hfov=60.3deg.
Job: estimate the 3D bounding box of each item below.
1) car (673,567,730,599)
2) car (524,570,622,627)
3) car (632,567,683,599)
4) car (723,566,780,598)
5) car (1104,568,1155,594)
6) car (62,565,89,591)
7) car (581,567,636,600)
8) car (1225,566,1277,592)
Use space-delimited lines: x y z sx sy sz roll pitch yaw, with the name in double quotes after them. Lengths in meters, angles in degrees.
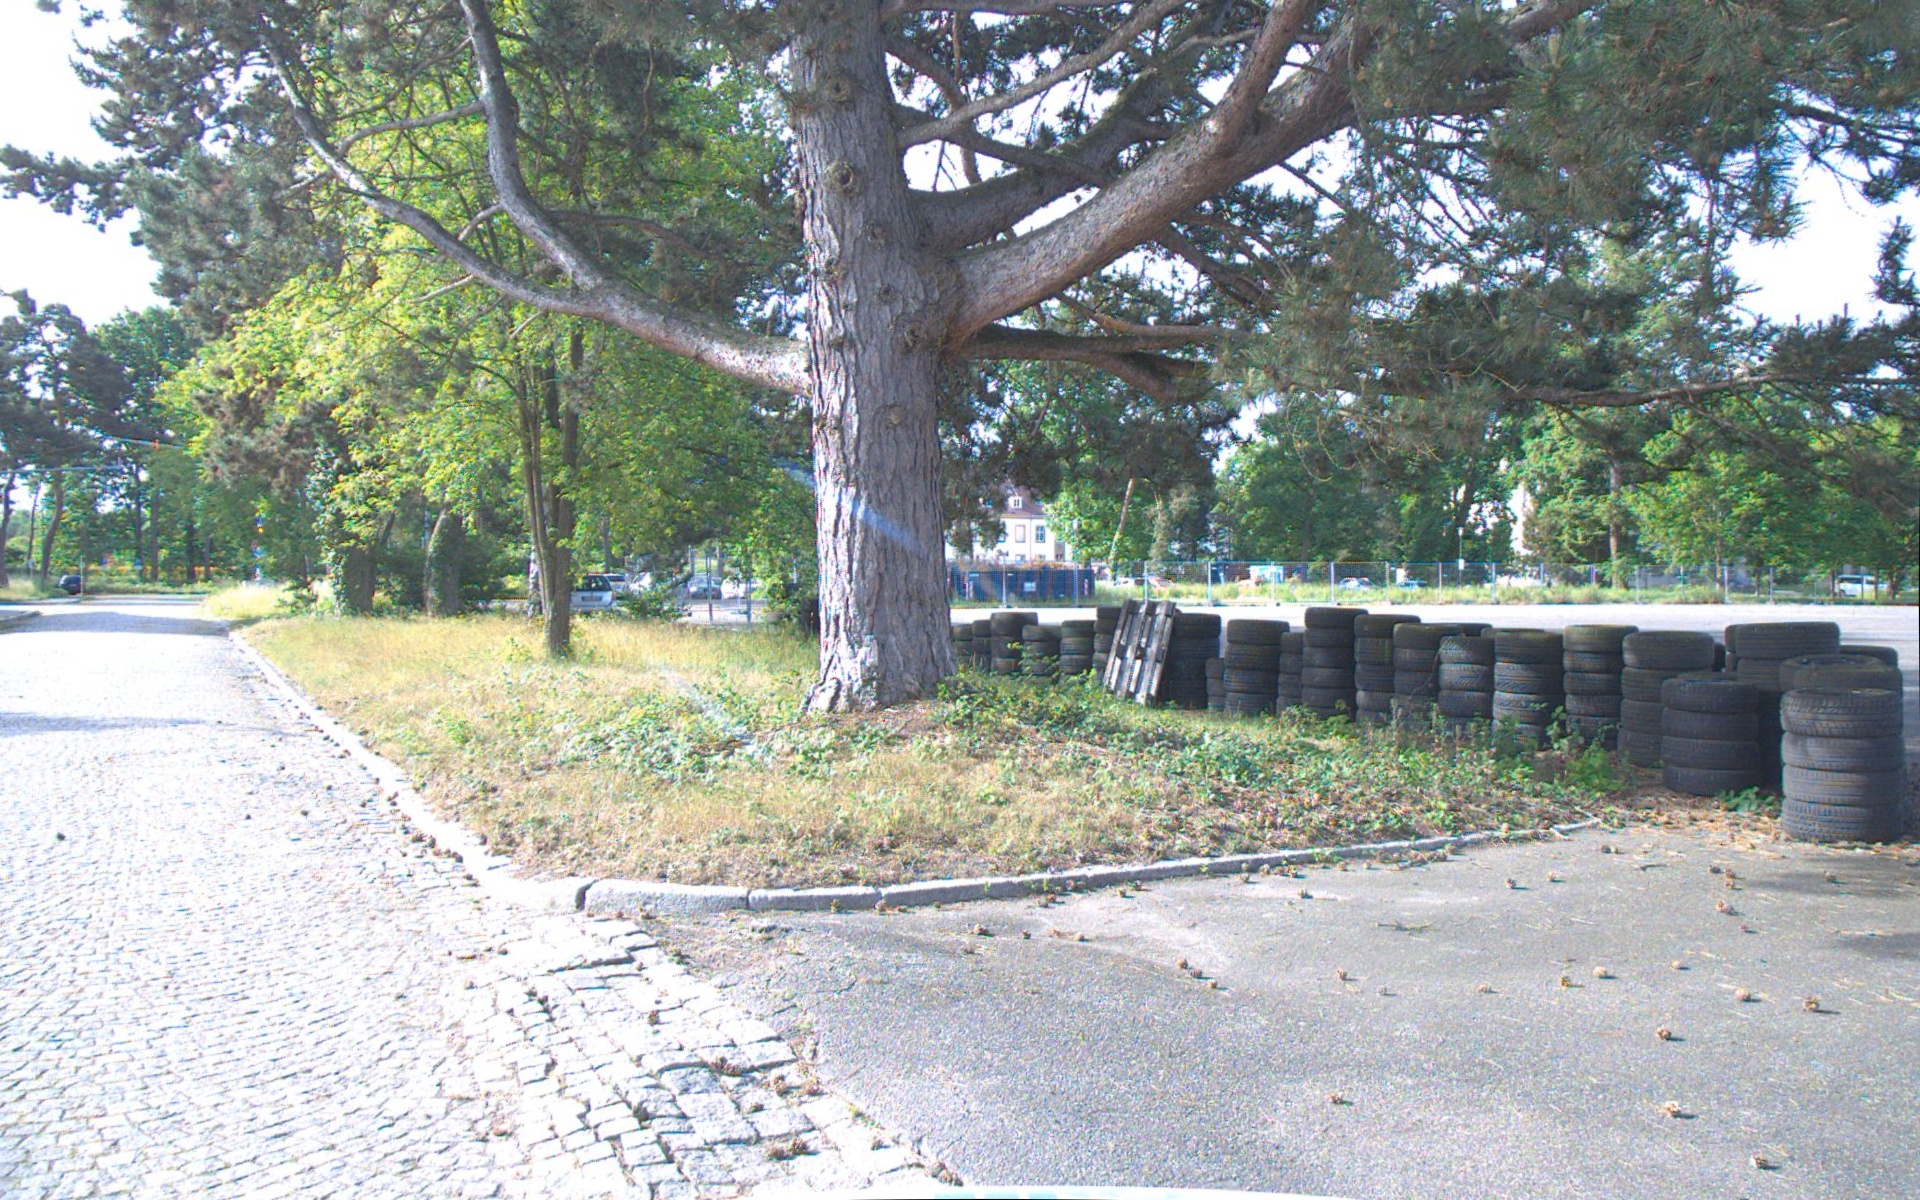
-13.866 -0.928 88.553 1.969 1.646 3.968 -1 1 -25 "car"
-11.205 -0.065 47.749 1.864 1.568 3.965 0 1 -27 "car"
-15.981 -0.927 87.176 1.797 1.646 3.971 -1 1 -23 "car"
-11.403 -0.993 90.123 1.969 1.646 3.968 -1 1 -25 "car"
11.611 -1.306 113.734 1.965 1.780 3.976 0 1 -21 "car"
-69.808 -1.760 130.572 1.676 2.049 3.968 0 1 -25 "car"
-18.254 -0.877 85.754 1.969 1.646 3.968 -1 1 -25 "car"
20.769 -1.506 118.071 1.964 1.780 3.977 0 1 -20 "car"
